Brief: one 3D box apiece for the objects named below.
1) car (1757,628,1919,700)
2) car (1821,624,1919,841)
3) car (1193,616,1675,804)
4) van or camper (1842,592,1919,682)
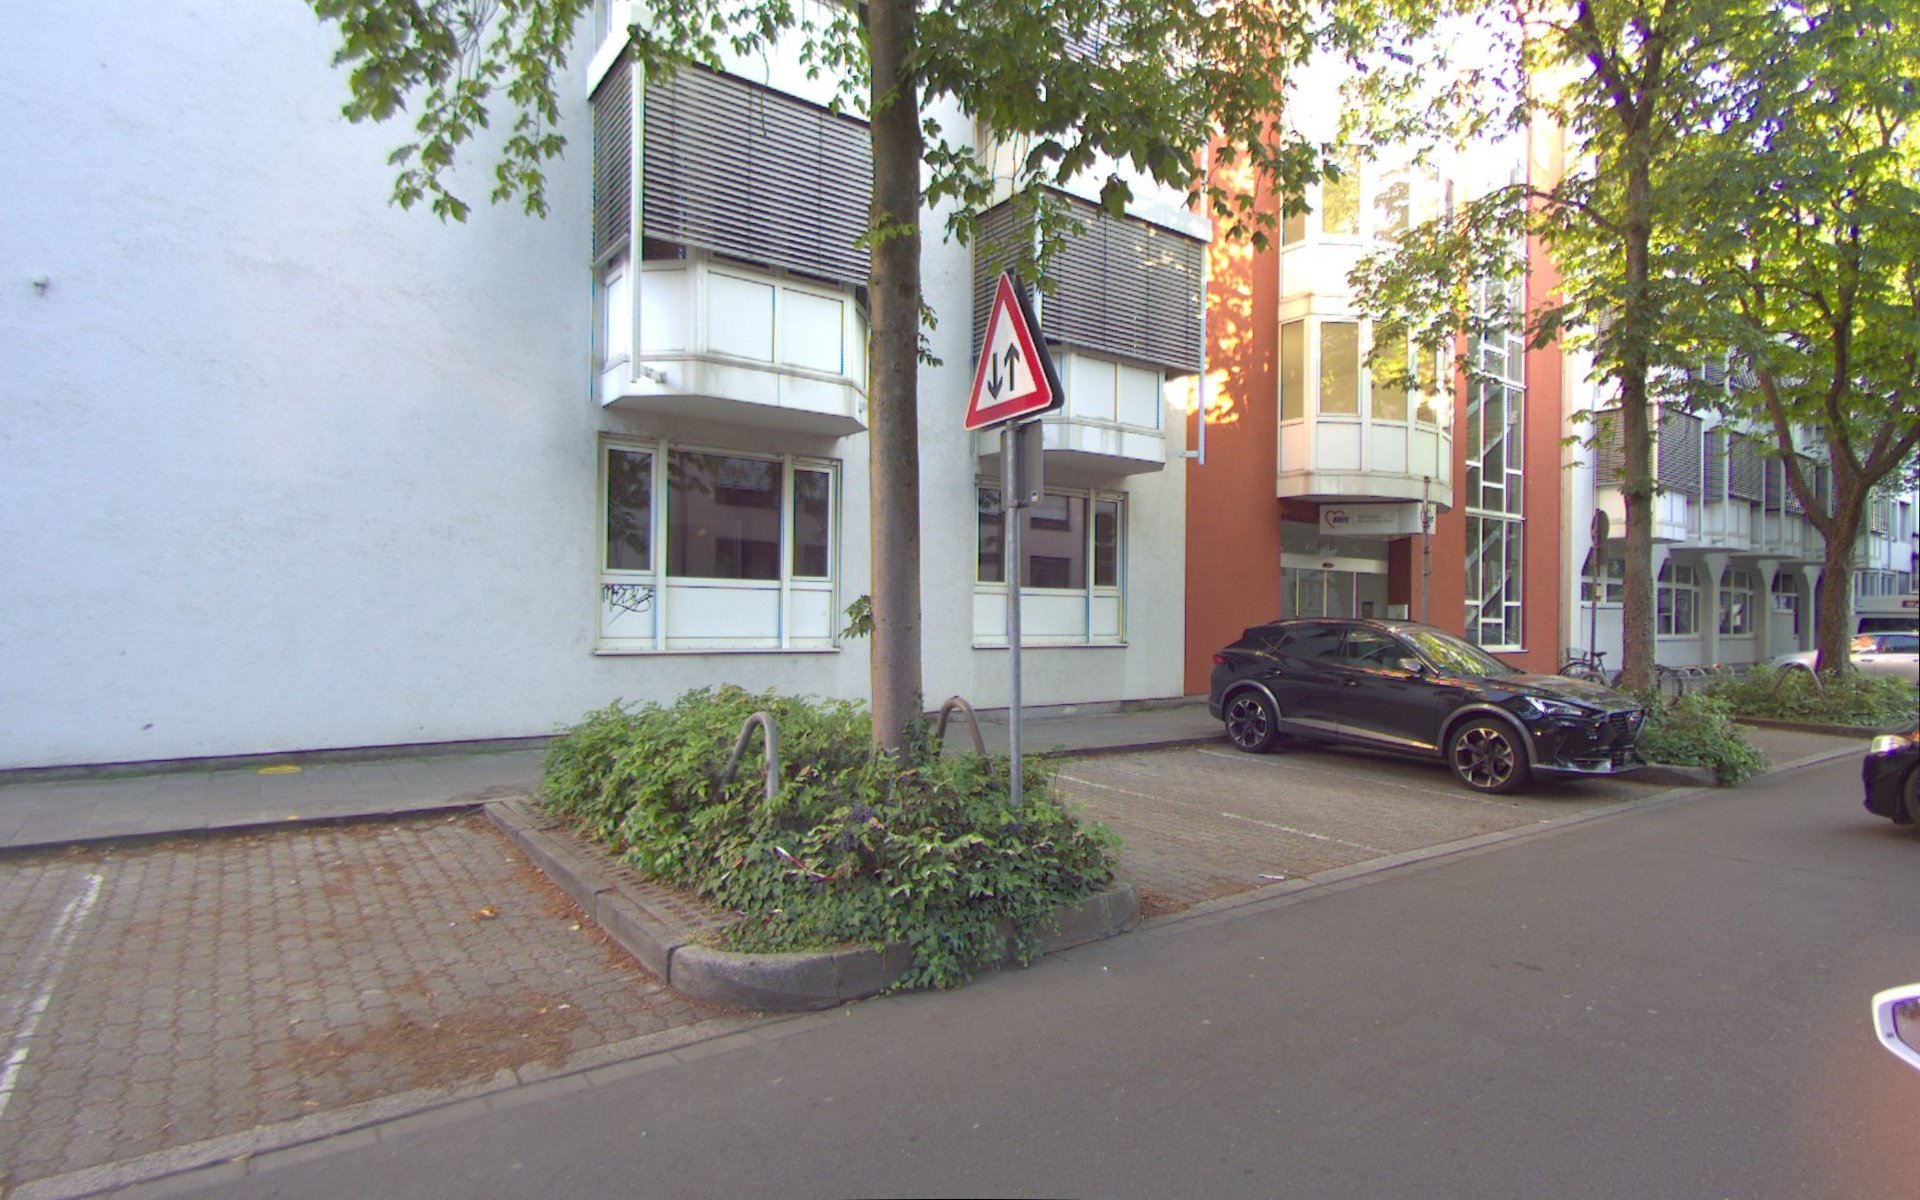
[{"bbox_3d":[21.156,1.450,23.241,1.767,1.537,3.942,1,-1,-35],"label":"car"},{"bbox_3d":[8.138,0.919,5.666,1.773,1.499,4.738,1,-1,-21],"label":"car"},{"bbox_3d":[4.713,0.956,10.613,1.768,1.537,4.325,1,-1,-35],"label":"car"},{"bbox_3d":[27.896,1.036,28.043,1.981,2.511,4.632,1,-1,-36],"label":"van or camper"}]
